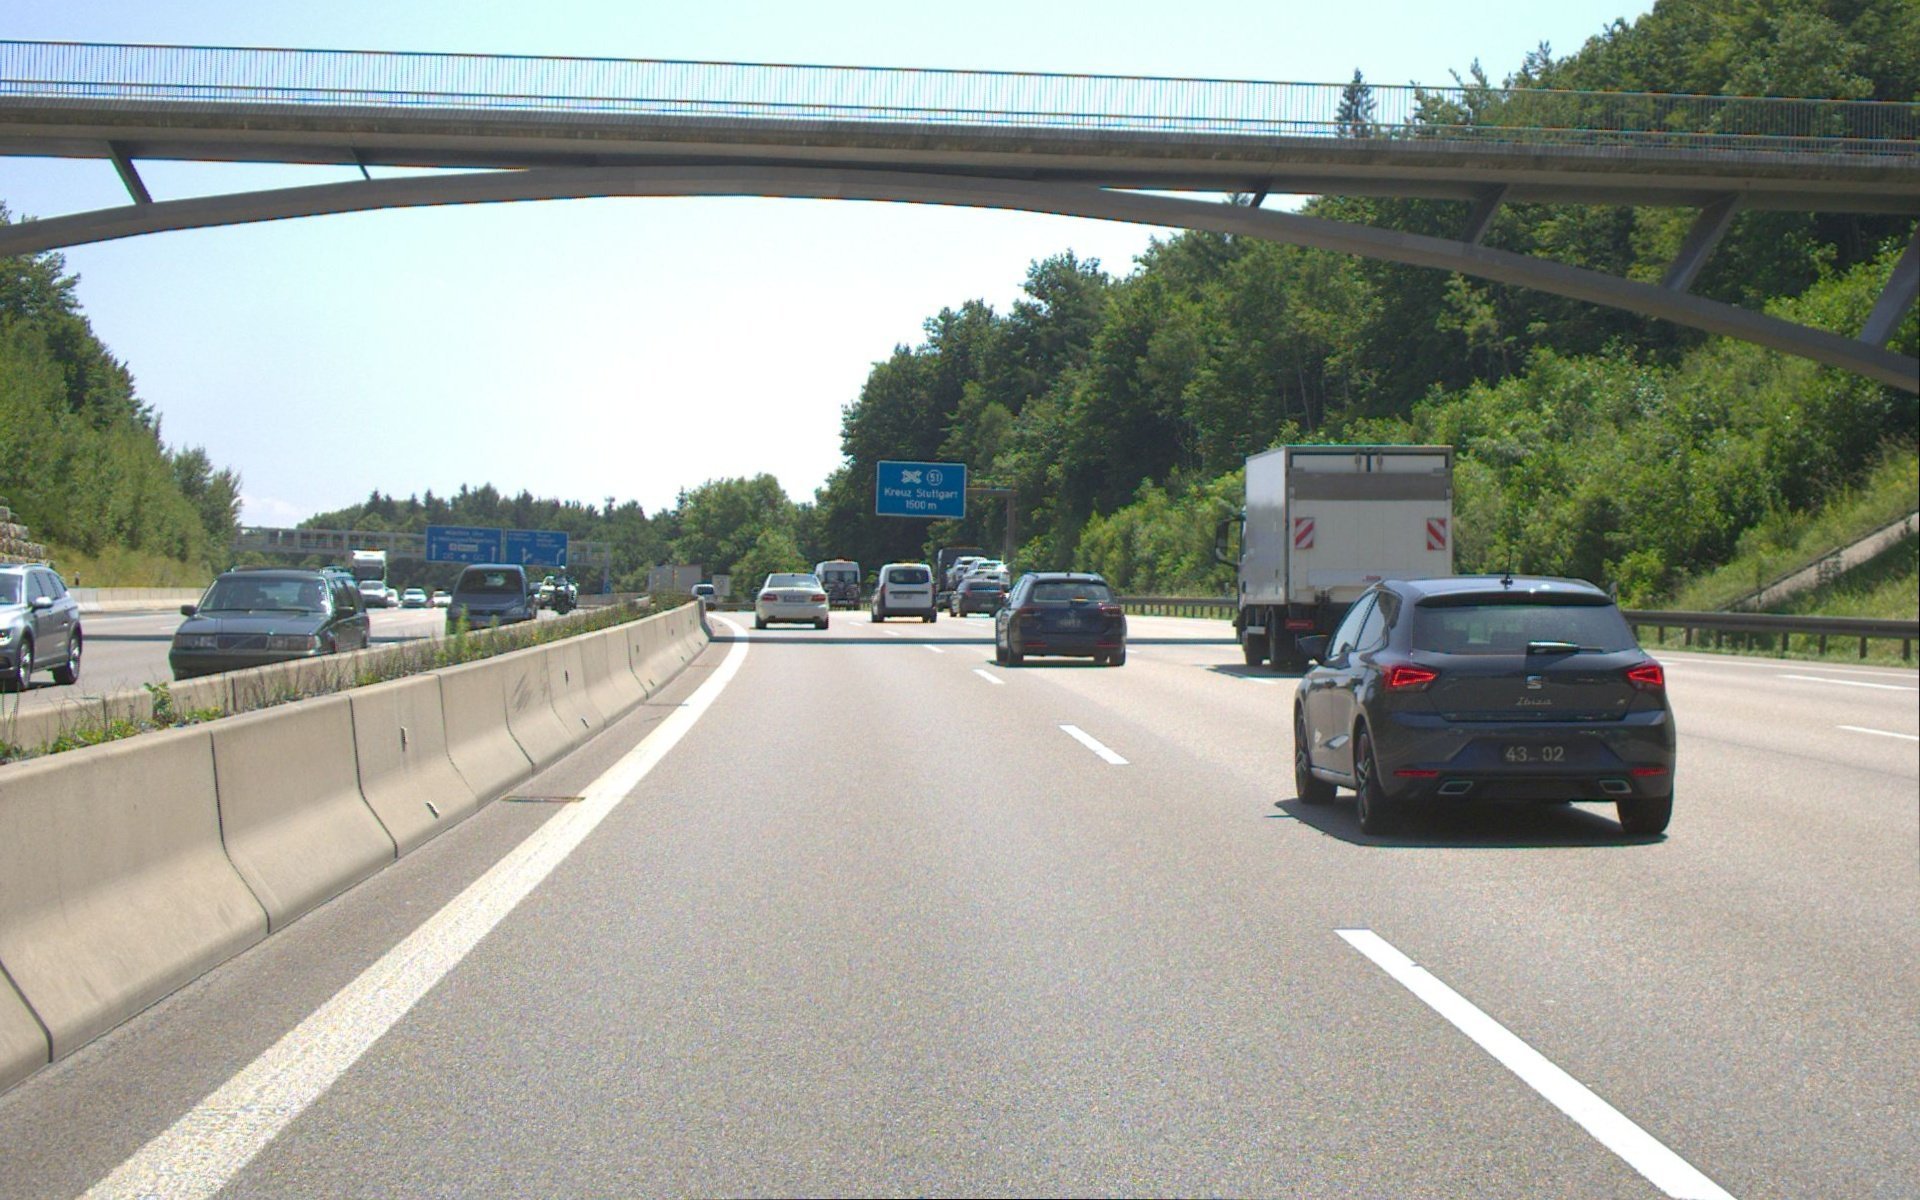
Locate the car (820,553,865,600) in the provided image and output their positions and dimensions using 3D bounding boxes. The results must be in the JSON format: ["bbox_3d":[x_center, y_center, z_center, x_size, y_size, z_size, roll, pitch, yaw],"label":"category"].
[{"bbox_3d":[-6.037,-1.197,177.101,2.265,2.363,4.702,0,0,-2],"label":"car"}]

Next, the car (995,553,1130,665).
[{"bbox_3d":[1.617,0.097,53.624,1.994,1.628,4.760,0,1,2],"label":"car"}]

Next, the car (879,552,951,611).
[{"bbox_3d":[-1.416,-0.586,106.212,2.103,1.738,4.688,0,1,-2],"label":"car"}]

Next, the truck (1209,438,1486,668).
[{"bbox_3d":[5.631,-0.718,51.291,2.985,3.156,7.575,0,1,-2],"label":"truck"}]

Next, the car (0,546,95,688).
[{"bbox_3d":[-11.811,0.156,41.073,1.993,1.612,4.000,0,1,-1],"label":"car"}]

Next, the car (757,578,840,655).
[{"bbox_3d":[-4.206,0.445,89.937,2.012,1.839,4.000,1,-2,-1],"label":"car"}]

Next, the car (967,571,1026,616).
[{"bbox_3d":[1.325,-0.236,126.309,1.993,1.587,4.000,2,0,-1],"label":"car"}]

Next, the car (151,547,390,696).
[{"bbox_3d":[-7.880,0.208,39.648,1.993,1.612,4.000,0,1,-1],"label":"car"}]

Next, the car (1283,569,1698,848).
[{"bbox_3d":[2.990,0.556,20.149,1.708,1.428,4.000,1,1,-1],"label":"car"}]

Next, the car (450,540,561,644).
[{"bbox_3d":[-9.393,-0.133,71.241,1.993,2.007,4.000,2,-1,-4],"label":"car"}]
